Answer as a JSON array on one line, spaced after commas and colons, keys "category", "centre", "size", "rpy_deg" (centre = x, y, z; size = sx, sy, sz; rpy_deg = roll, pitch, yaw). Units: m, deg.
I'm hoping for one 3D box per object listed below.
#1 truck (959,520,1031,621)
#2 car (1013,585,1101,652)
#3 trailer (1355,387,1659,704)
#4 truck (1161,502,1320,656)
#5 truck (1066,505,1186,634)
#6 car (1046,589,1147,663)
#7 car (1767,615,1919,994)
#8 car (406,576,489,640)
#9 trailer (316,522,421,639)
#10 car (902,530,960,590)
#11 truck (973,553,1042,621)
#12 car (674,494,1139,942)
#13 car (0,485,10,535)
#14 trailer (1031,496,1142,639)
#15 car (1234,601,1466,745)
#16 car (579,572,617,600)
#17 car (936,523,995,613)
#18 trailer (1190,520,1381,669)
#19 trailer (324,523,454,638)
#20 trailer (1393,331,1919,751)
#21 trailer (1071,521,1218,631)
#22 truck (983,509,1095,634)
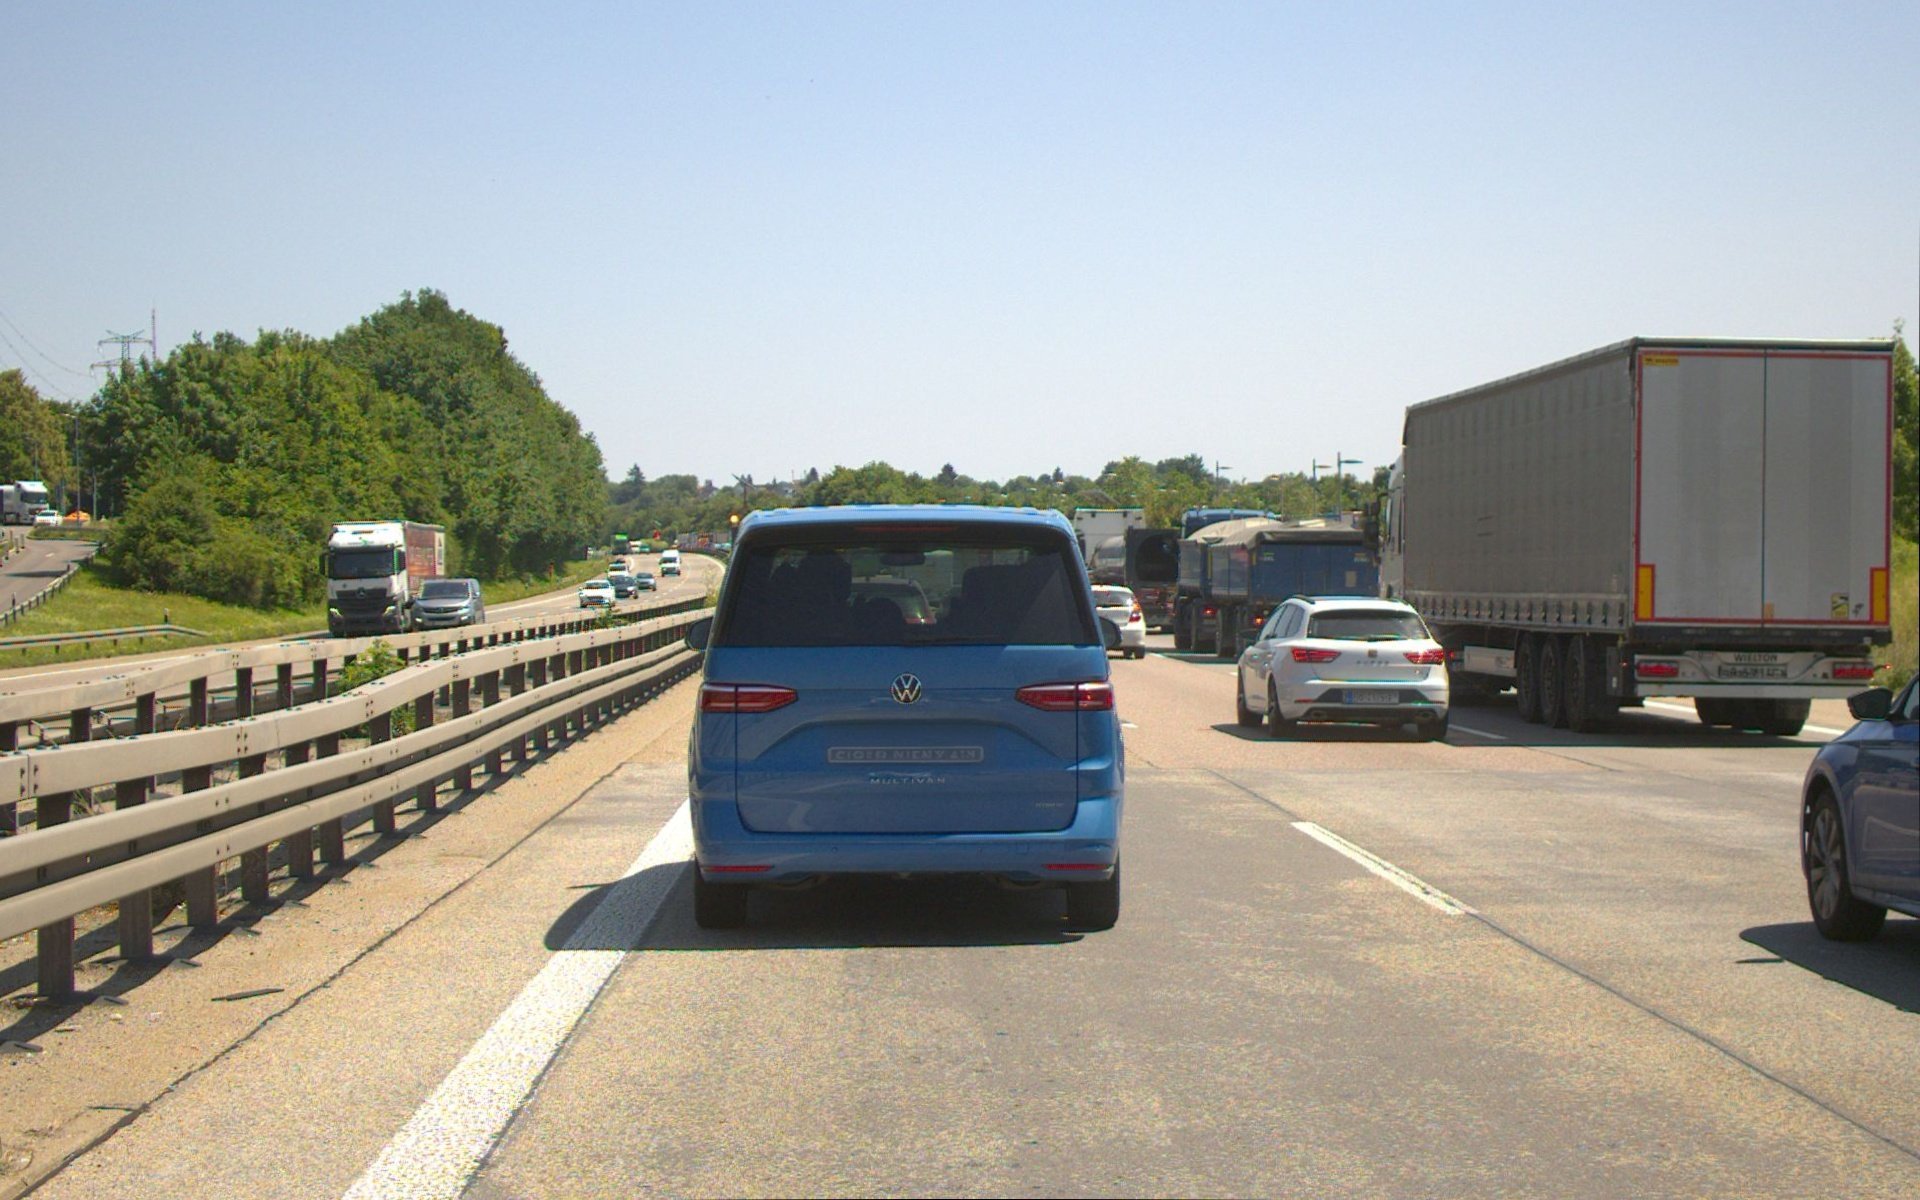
[{"category": "truck", "centre": [1.732, -1.441, 176.535], "size": [3.068, 4.903, 10.690], "rpy_deg": [1, -1, -2]}, {"category": "car", "centre": [2.274, 0.453, 81.311], "size": [1.780, 1.519, 4.000], "rpy_deg": [1, -1, -2]}, {"category": "trailer", "centre": [7.352, -0.712, 47.098], "size": [2.924, 4.030, 6.411], "rpy_deg": [0, 0, -2]}, {"category": "truck", "centre": [6.300, -0.509, 78.213], "size": [2.743, 3.300, 7.133], "rpy_deg": [1, 1, -2]}, {"category": "truck", "centre": [5.484, -0.941, 114.793], "size": [3.626, 4.081, 7.523], "rpy_deg": [1, -1, 0]}, {"category": "car", "centre": [2.787, 0.543, 70.920], "size": [1.840, 1.449, 4.000], "rpy_deg": [1, -1, -1]}, {"category": "car", "centre": [4.501, 0.790, 13.057], "size": [1.706, 1.436, 4.428], "rpy_deg": [1, -1, -1]}, {"category": "car", "centre": [-16.292, 0.274, 109.488], "size": [1.993, 1.934, 4.897], "rpy_deg": [1, -1, -1]}, {"category": "trailer", "centre": [-20.890, -0.692, 121.722], "size": [2.756, 3.963, 6.132], "rpy_deg": [-2, 0, -2]}, {"category": "car", "centre": [-1.415, -1.894, 165.715], "size": [2.550, 2.708, 5.621], "rpy_deg": [1, -1, -2]}, {"category": "truck", "centre": [1.318, -0.344, 97.151], "size": [1.725, 1.851, 4.000], "rpy_deg": [1, -1, -2]}, {"category": "car", "centre": [-0.245, 0.511, 16.307], "size": [1.901, 1.831, 4.000], "rpy_deg": [1, -1, -1]}, {"category": "car", "centre": [-61.131, -5.616, 216.239], "size": [2.068, 2.870, 6.734], "rpy_deg": [-1, -1, -20]}, {"category": "trailer", "centre": [4.692, -1.101, 130.392], "size": [3.646, 5.119, 13.075], "rpy_deg": [1, -1, 0]}, {"category": "car", "centre": [3.937, 0.708, 35.298], "size": [1.867, 1.356, 4.000], "rpy_deg": [1, 0, -1]}, {"category": "car", "centre": [-19.923, -0.741, 189.464], "size": [1.850, 1.462, 4.305], "rpy_deg": [-1, -1, -3]}, {"category": "car", "centre": [0.310, -1.887, 209.432], "size": [3.218, 5.239, 8.144], "rpy_deg": [1, -1, -2]}, {"category": "trailer", "centre": [6.571, -0.175, 70.726], "size": [2.743, 2.827, 9.116], "rpy_deg": [1, 1, -2]}, {"category": "trailer", "centre": [-21.103, -0.739, 127.967], "size": [2.763, 3.962, 14.682], "rpy_deg": [-2, 0, -2]}, {"category": "trailer", "centre": [7.615, -0.578, 40.076], "size": [2.962, 4.036, 13.752], "rpy_deg": [0, 0, -2]}, {"category": "trailer", "centre": [5.528, -0.621, 106.220], "size": [3.646, 3.068, 15.771], "rpy_deg": [1, -1, 0]}, {"category": "truck", "centre": [3.402, -1.119, 153.155], "size": [3.621, 5.195, 15.690], "rpy_deg": [1, -1, -3]}]
